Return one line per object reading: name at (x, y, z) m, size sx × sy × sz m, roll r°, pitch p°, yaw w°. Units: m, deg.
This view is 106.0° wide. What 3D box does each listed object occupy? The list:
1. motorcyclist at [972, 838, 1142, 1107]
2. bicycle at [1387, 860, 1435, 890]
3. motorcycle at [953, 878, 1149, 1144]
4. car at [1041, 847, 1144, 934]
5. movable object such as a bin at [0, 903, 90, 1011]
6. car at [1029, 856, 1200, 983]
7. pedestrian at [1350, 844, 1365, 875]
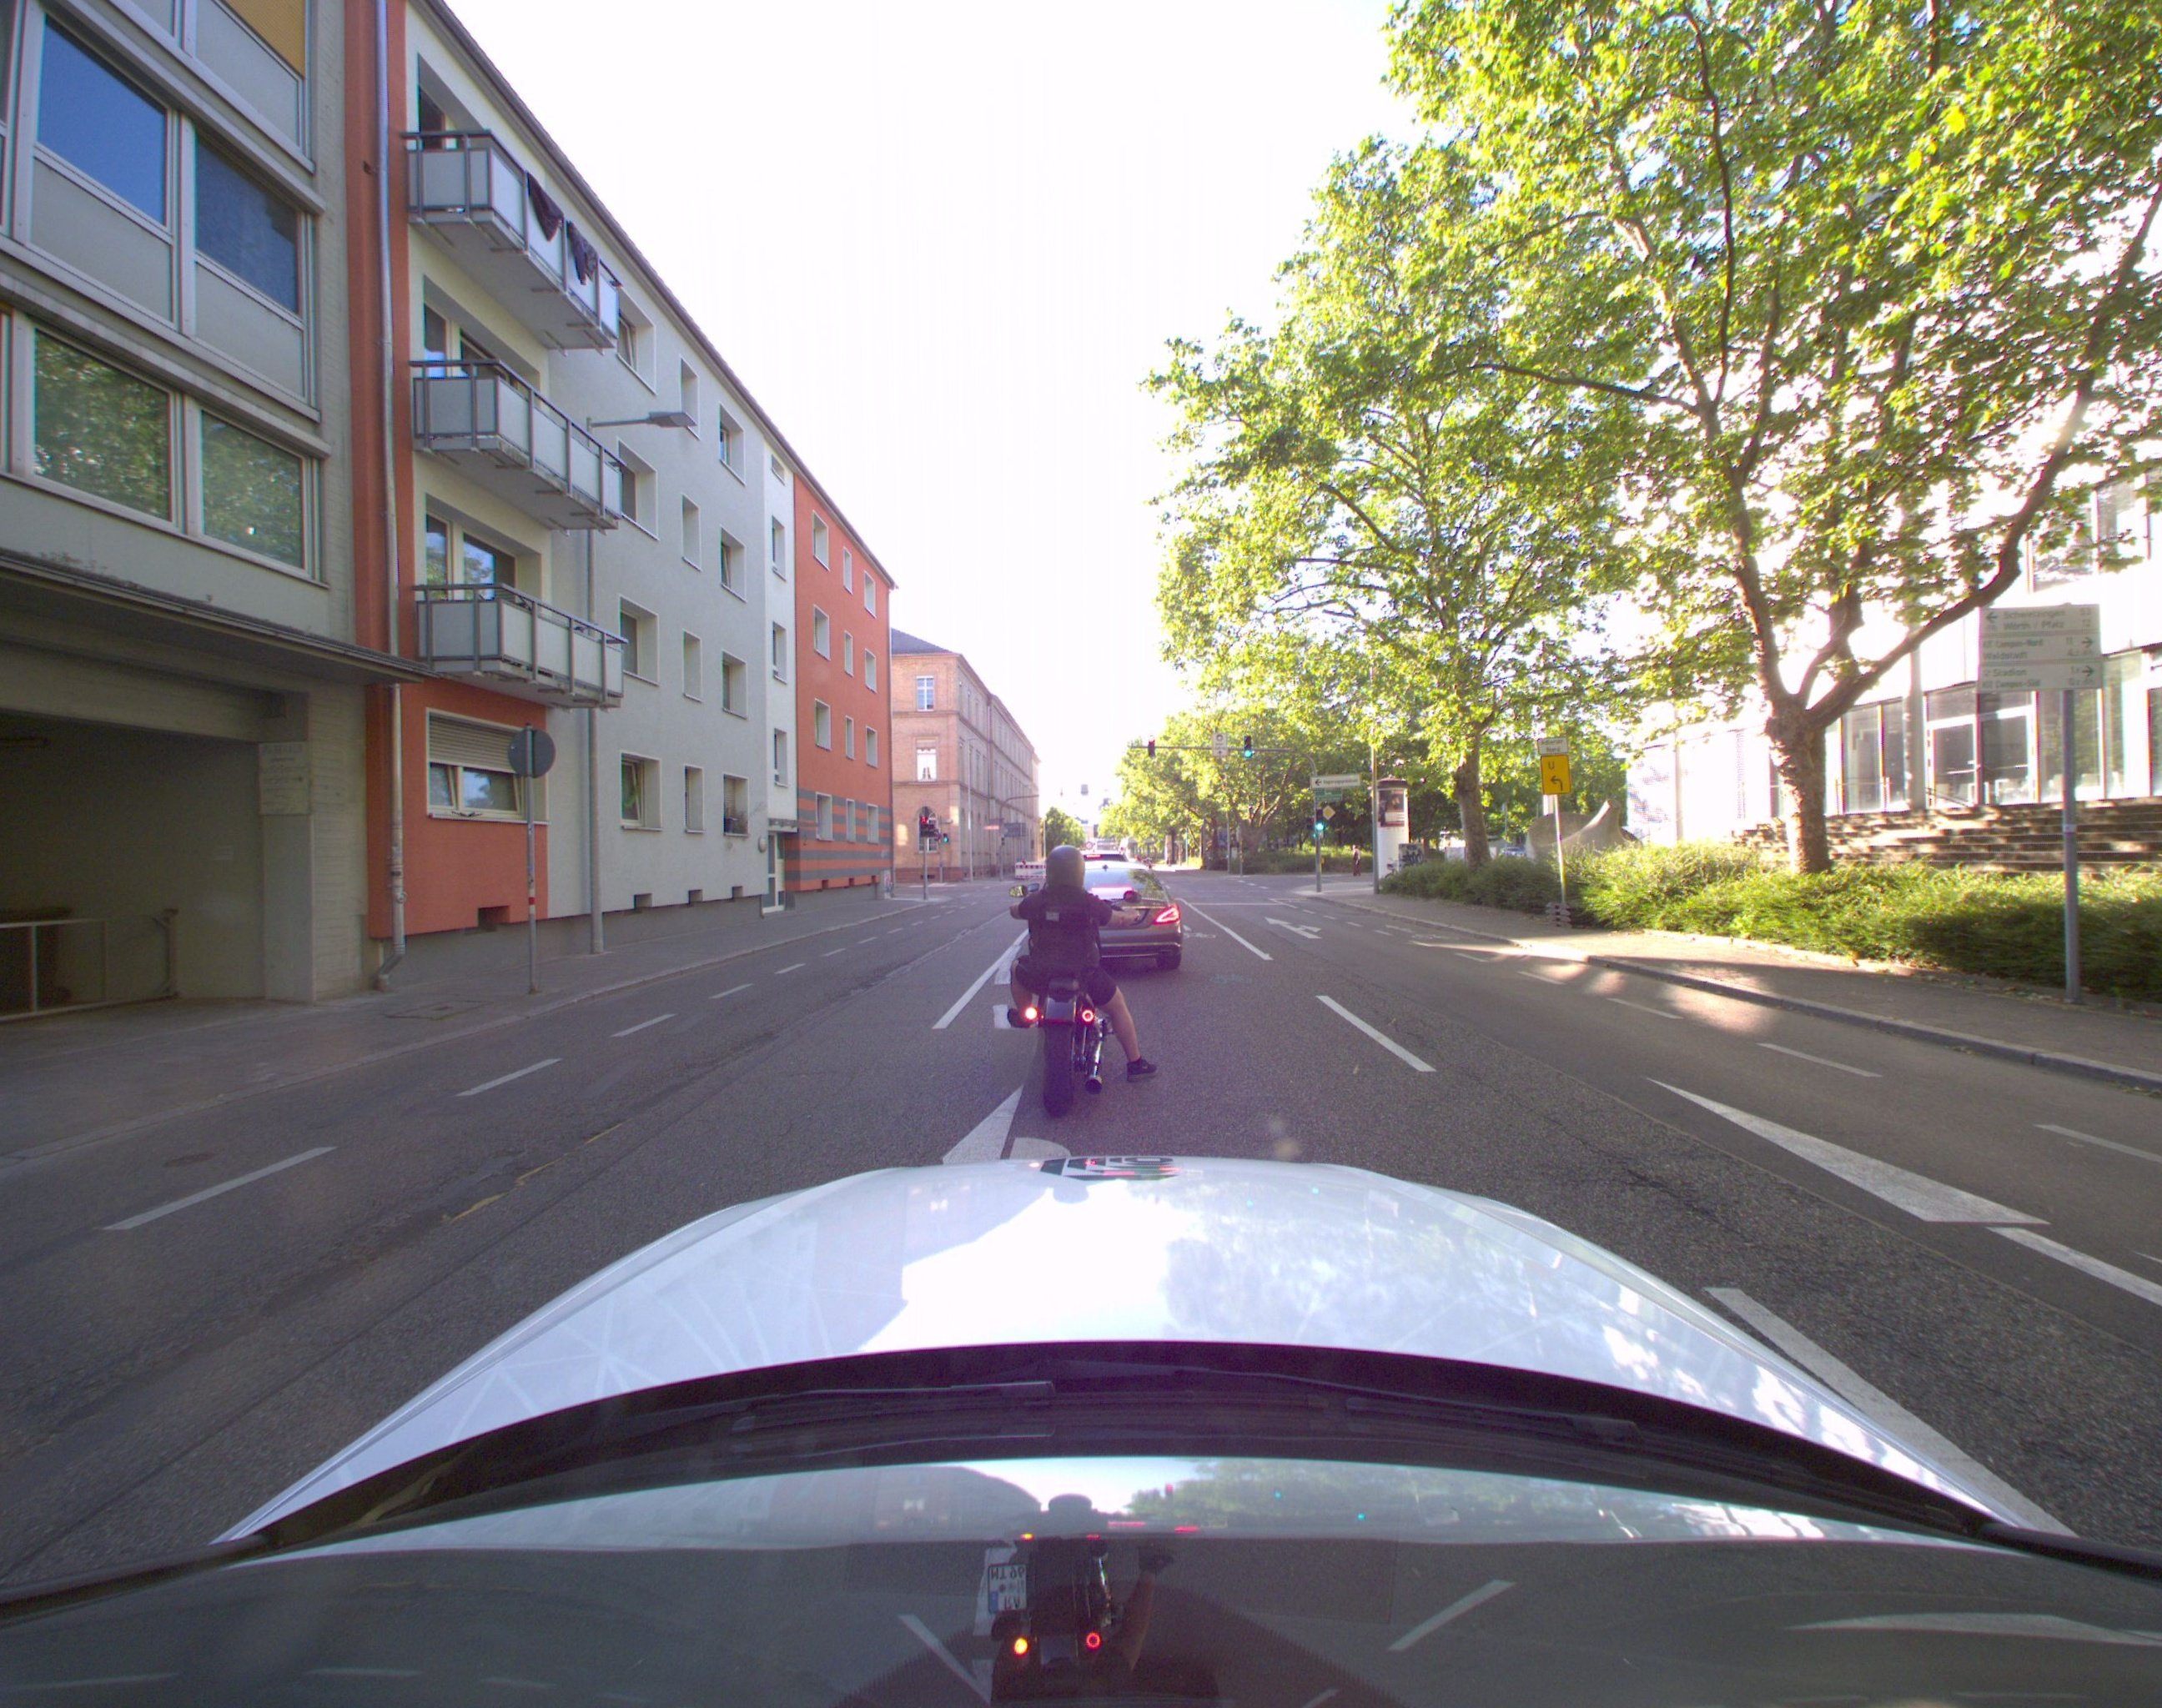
motorcyclist at (-0.123, 0.701, 5.456) m, size 0.977 × 1.578 × 1.249 m, roll -1°, pitch 0°, yaw 1°
bicycle at (11.077, 0.709, 27.346) m, size 1.475 × 0.980 × 0.300 m, roll 0°, pitch -1°, yaw 7°
motorcycle at (-0.117, 0.840, 5.375) m, size 0.977 × 1.275 × 2.408 m, roll -1°, pitch 0°, yaw 2°
car at (0.287, 0.719, 17.695) m, size 1.986 × 1.665 × 4.001 m, roll 0°, pitch -1°, yaw 2°
movable object such as a bin at (-11.291, 1.082, 8.670) m, size 0.639 × 1.065 × 0.675 m, roll -1°, pitch 0°, yaw 1°
car at (0.262, 0.767, 11.768) m, size 1.867 × 1.444 × 4.421 m, roll -1°, pitch 0°, yaw -6°
pedestrian at (15.722, 0.322, 46.366) m, size 0.671 × 1.772 × 0.621 m, roll -1°, pitch -1°, yaw 31°
